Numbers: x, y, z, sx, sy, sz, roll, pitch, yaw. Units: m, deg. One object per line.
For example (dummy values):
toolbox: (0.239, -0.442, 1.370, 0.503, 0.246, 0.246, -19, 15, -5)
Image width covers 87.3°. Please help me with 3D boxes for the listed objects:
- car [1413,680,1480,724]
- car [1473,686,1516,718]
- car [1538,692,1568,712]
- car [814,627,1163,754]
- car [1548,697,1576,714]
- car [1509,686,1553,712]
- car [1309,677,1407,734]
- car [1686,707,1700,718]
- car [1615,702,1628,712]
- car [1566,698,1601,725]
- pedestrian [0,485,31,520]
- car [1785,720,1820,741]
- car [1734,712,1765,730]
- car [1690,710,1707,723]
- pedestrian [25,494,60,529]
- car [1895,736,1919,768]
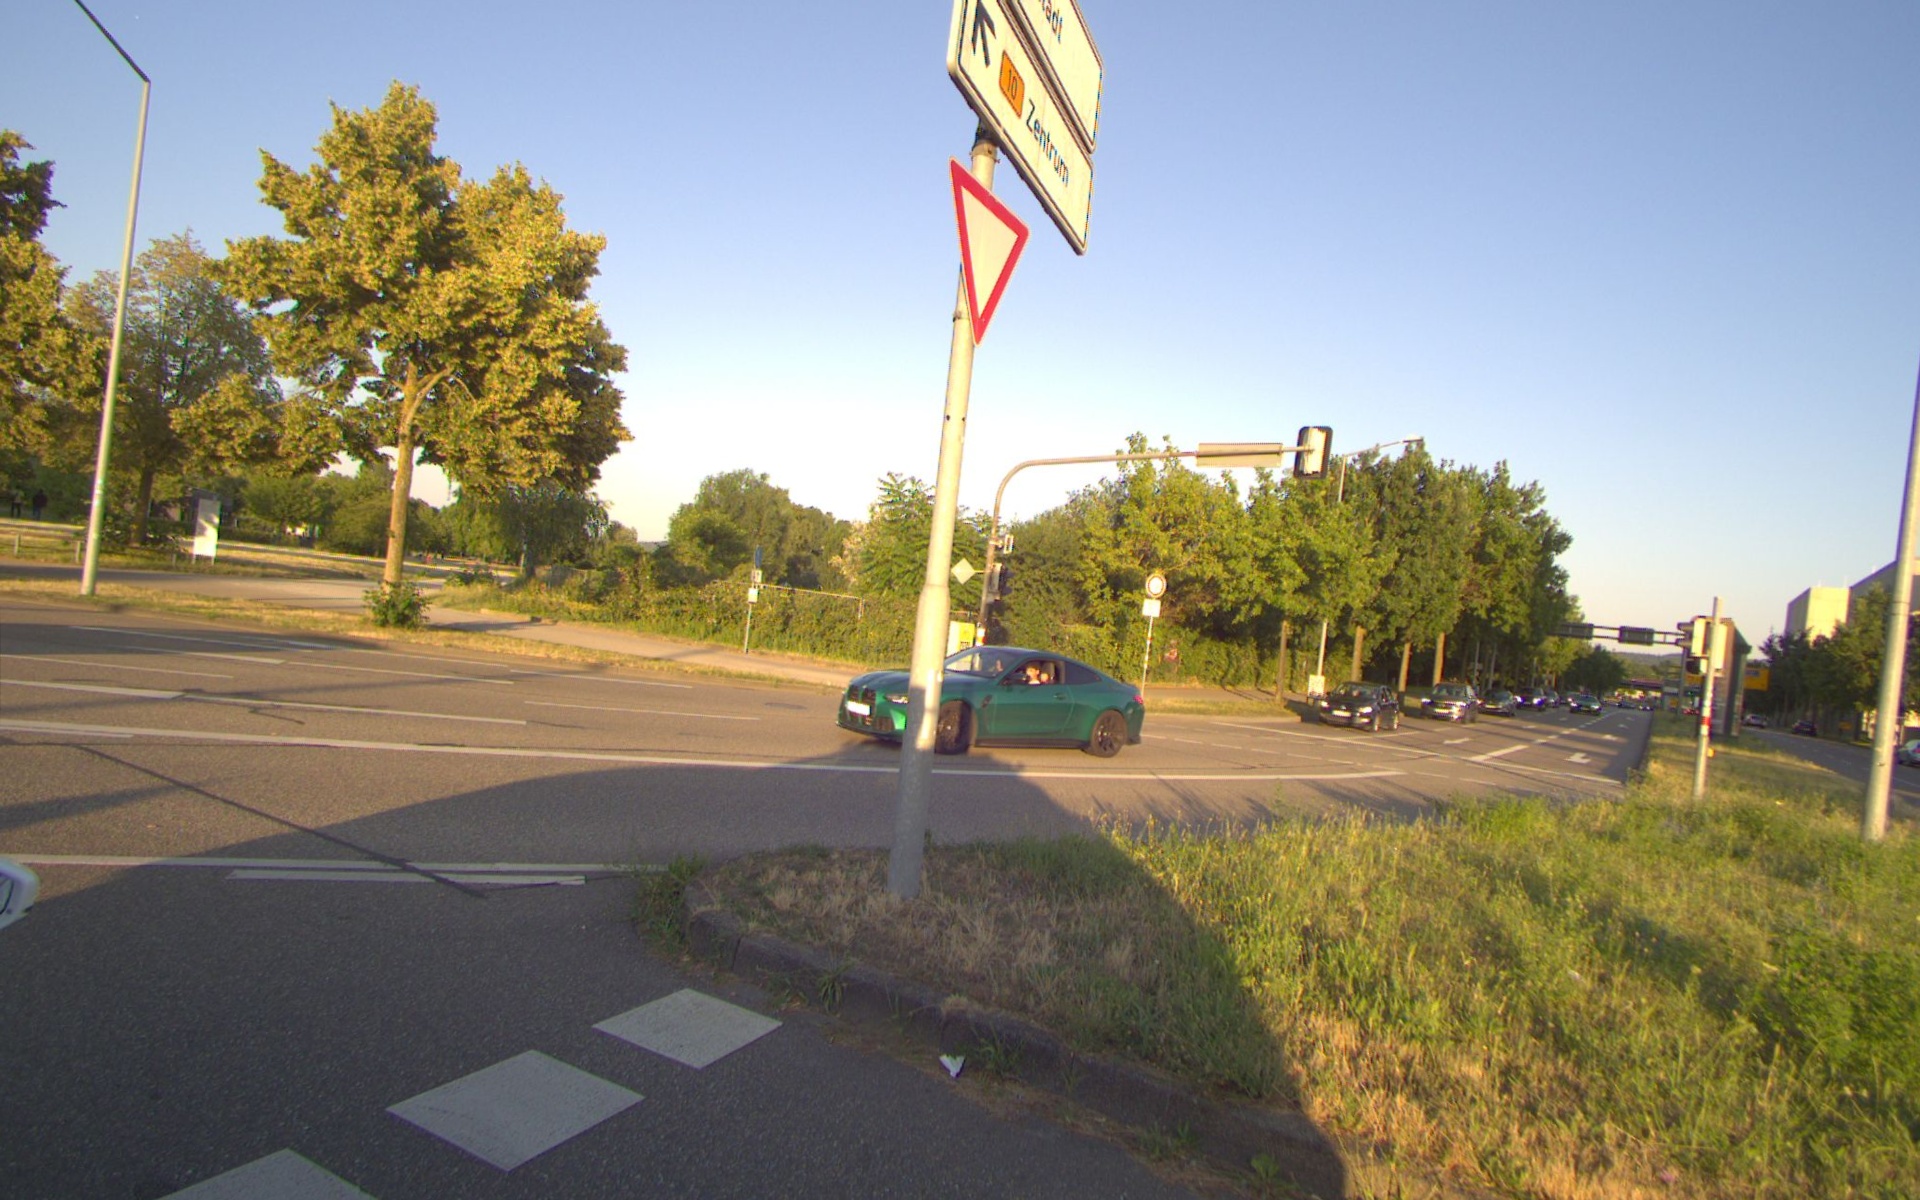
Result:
car: (21.110, 4.405, 43.588, 1.969, 1.656, 4.515, 2, -3, 34)
car: (30.682, 5.810, 57.837, 1.853, 1.481, 4.668, 7, -1, 26)
car: (50.204, 8.615, 85.174, 1.838, 1.406, 4.153, 7, -1, 33)
car: (0.530, 1.306, 14.052, 4.700, 1.386, 1.980, 8, -5, -40)
car: (57.693, 10.108, 96.376, 1.839, 1.406, 4.150, 7, -1, 36)
car: (41.101, 7.147, 72.412, 1.970, 1.592, 4.399, 7, -1, 38)
car: (12.114, 3.196, 30.507, 1.668, 1.370, 3.988, 7, -1, 37)
car: (143.901, 22.147, 197.496, 1.969, 1.804, 3.988, 7, -1, 37)
car: (127.419, 20.634, 193.674, 1.885, 1.602, 4.170, 7, -1, 34)
car: (47.436, 8.429, 76.514, 1.967, 1.598, 4.476, 10, 1, 33)
pedestrian: (-48.861, -5.043, 51.911, 0.896, 1.637, 1.070, 7, 0, 34)
car: (83.298, 12.880, 99.532, 1.967, 1.593, 3.992, 7, -1, 33)
car: (89.264, 13.710, 113.721, 1.966, 1.615, 3.995, 7, -1, 29)
car: (115.881, 18.247, 157.827, 1.969, 1.804, 3.988, 7, -1, 37)
pedestrian: (-48.214, -4.662, 52.864, 0.896, 1.637, 1.070, 7, 0, 34)
car: (52.251, 8.305, 54.221, 1.969, 1.527, 5.171, 7, -1, 36)
